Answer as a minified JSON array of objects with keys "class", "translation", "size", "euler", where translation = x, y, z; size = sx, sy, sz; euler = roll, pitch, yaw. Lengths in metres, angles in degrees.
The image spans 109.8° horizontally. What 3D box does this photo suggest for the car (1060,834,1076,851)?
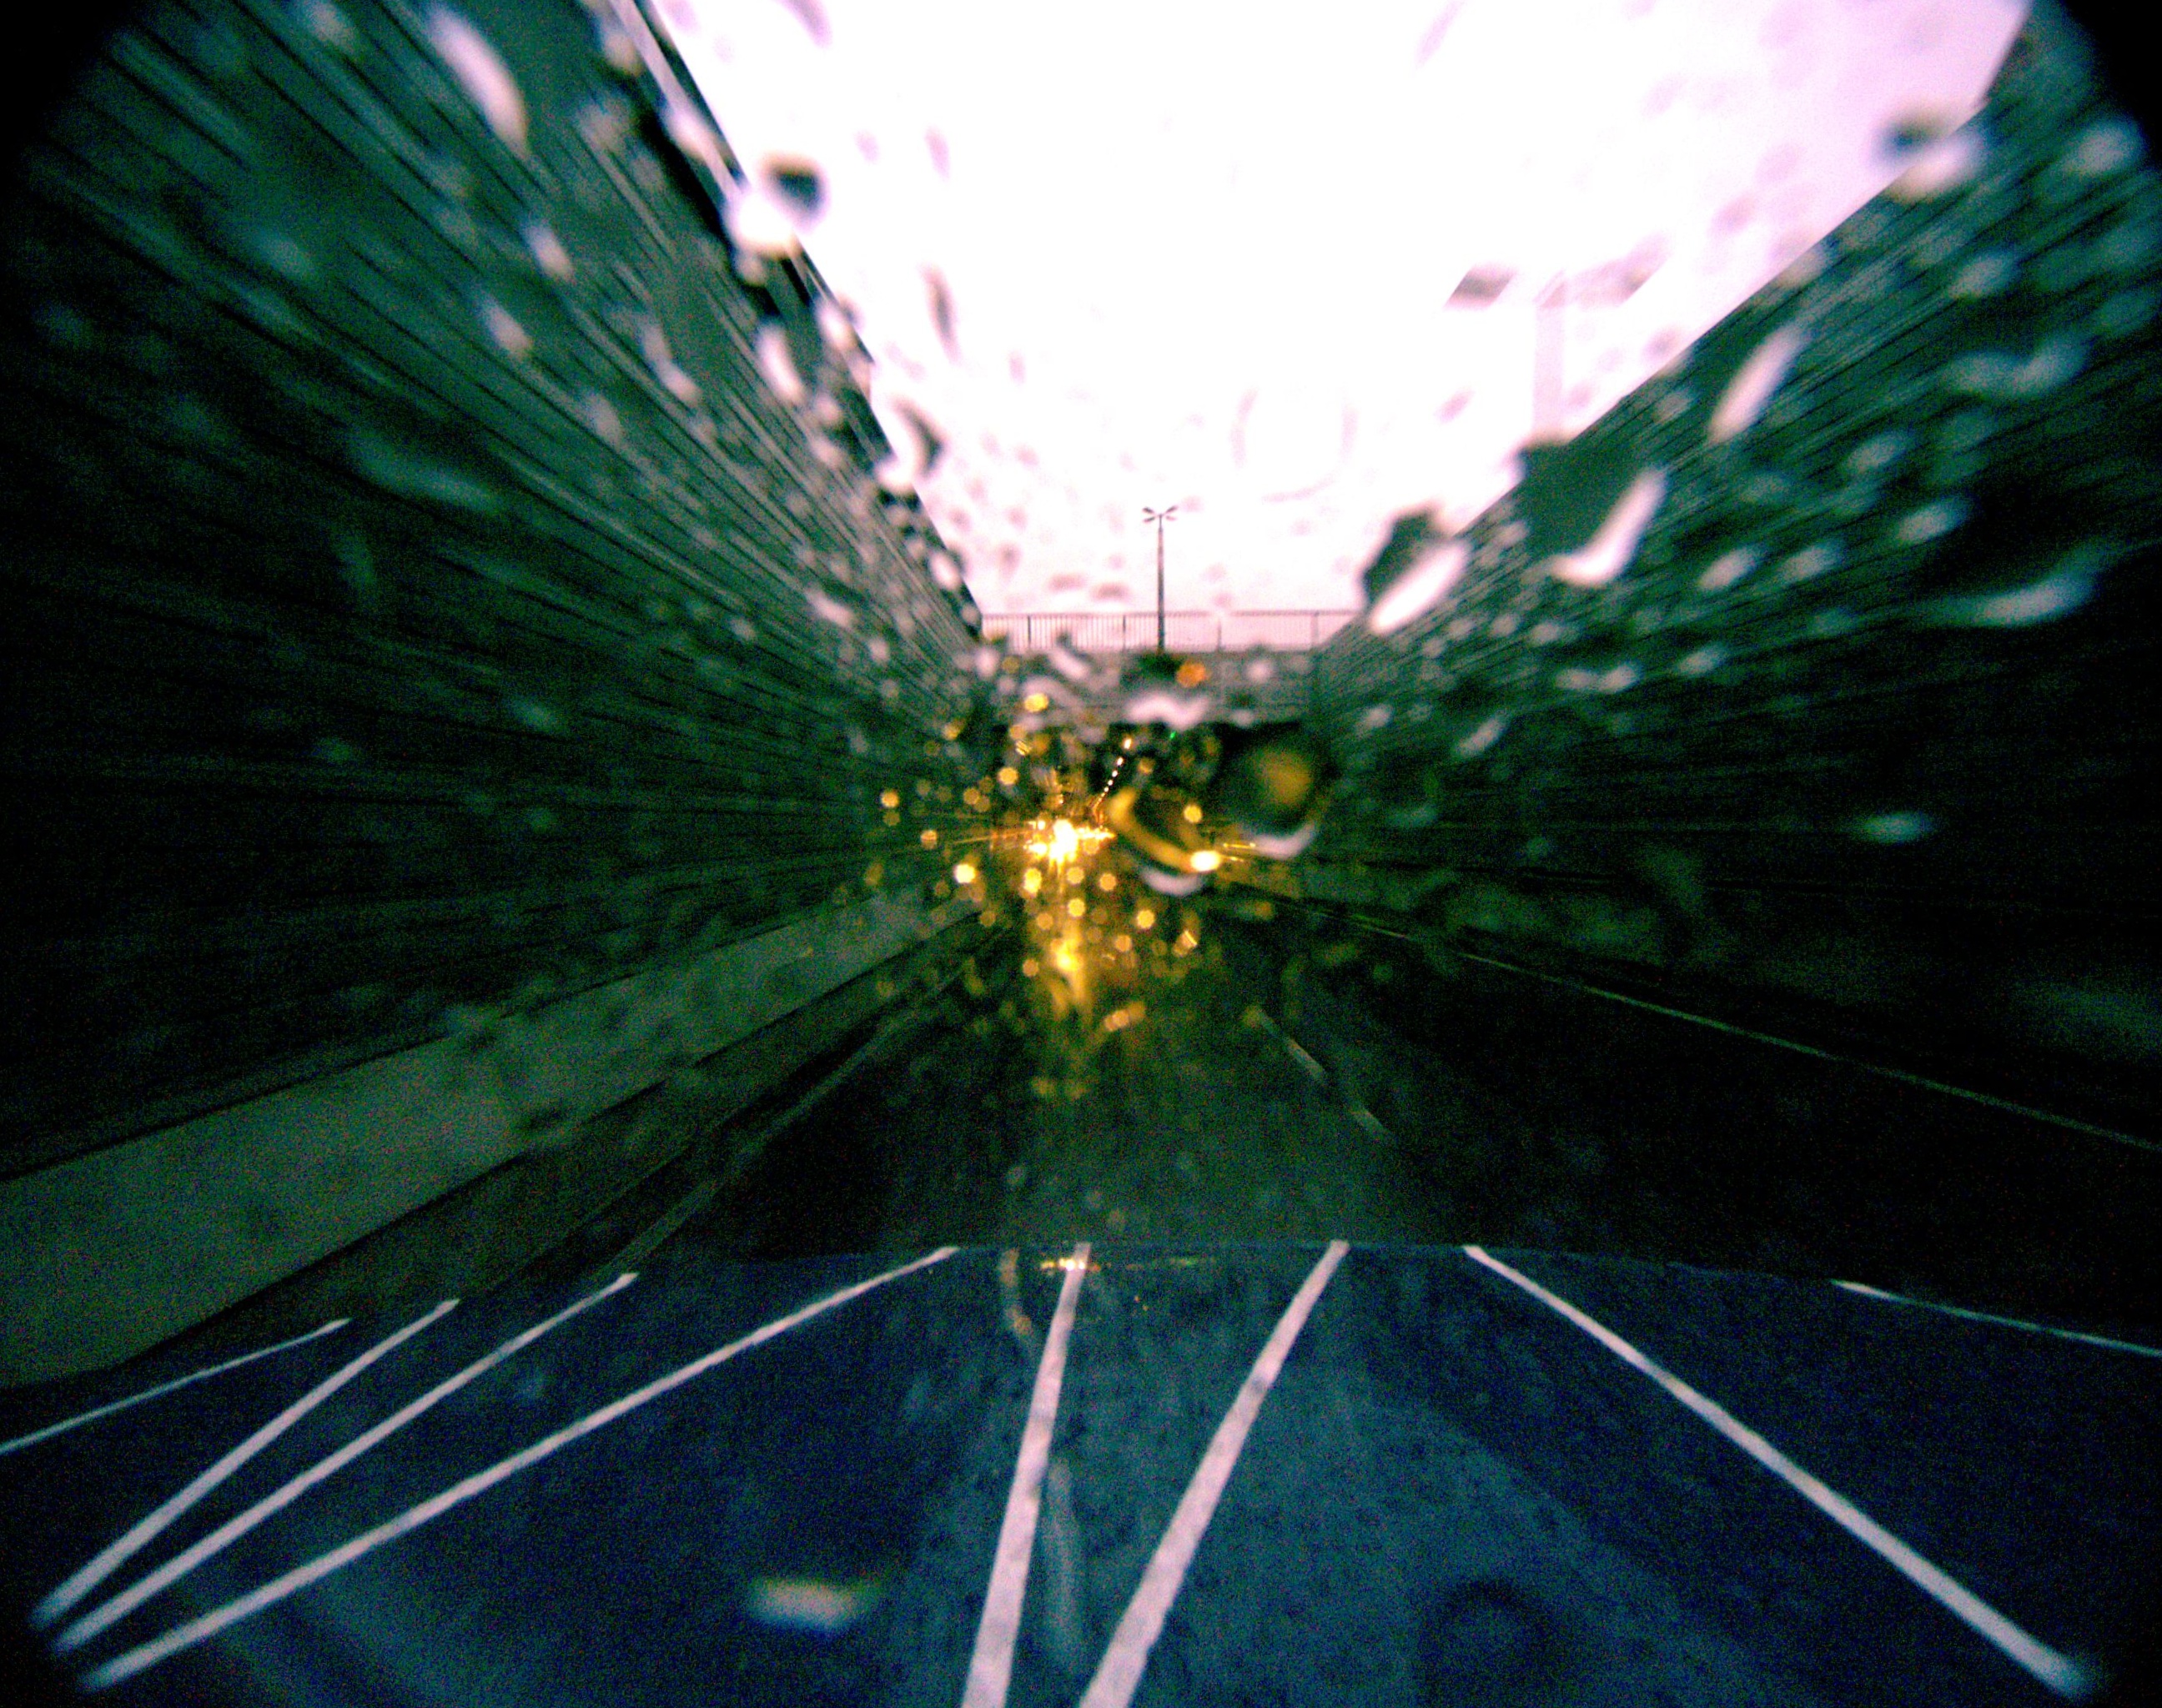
[{"class":"car","translation":[-1.715,-1.529,98.835],"size":[2.031,2.018,4.422],"euler":[-2,2,-1]}]
